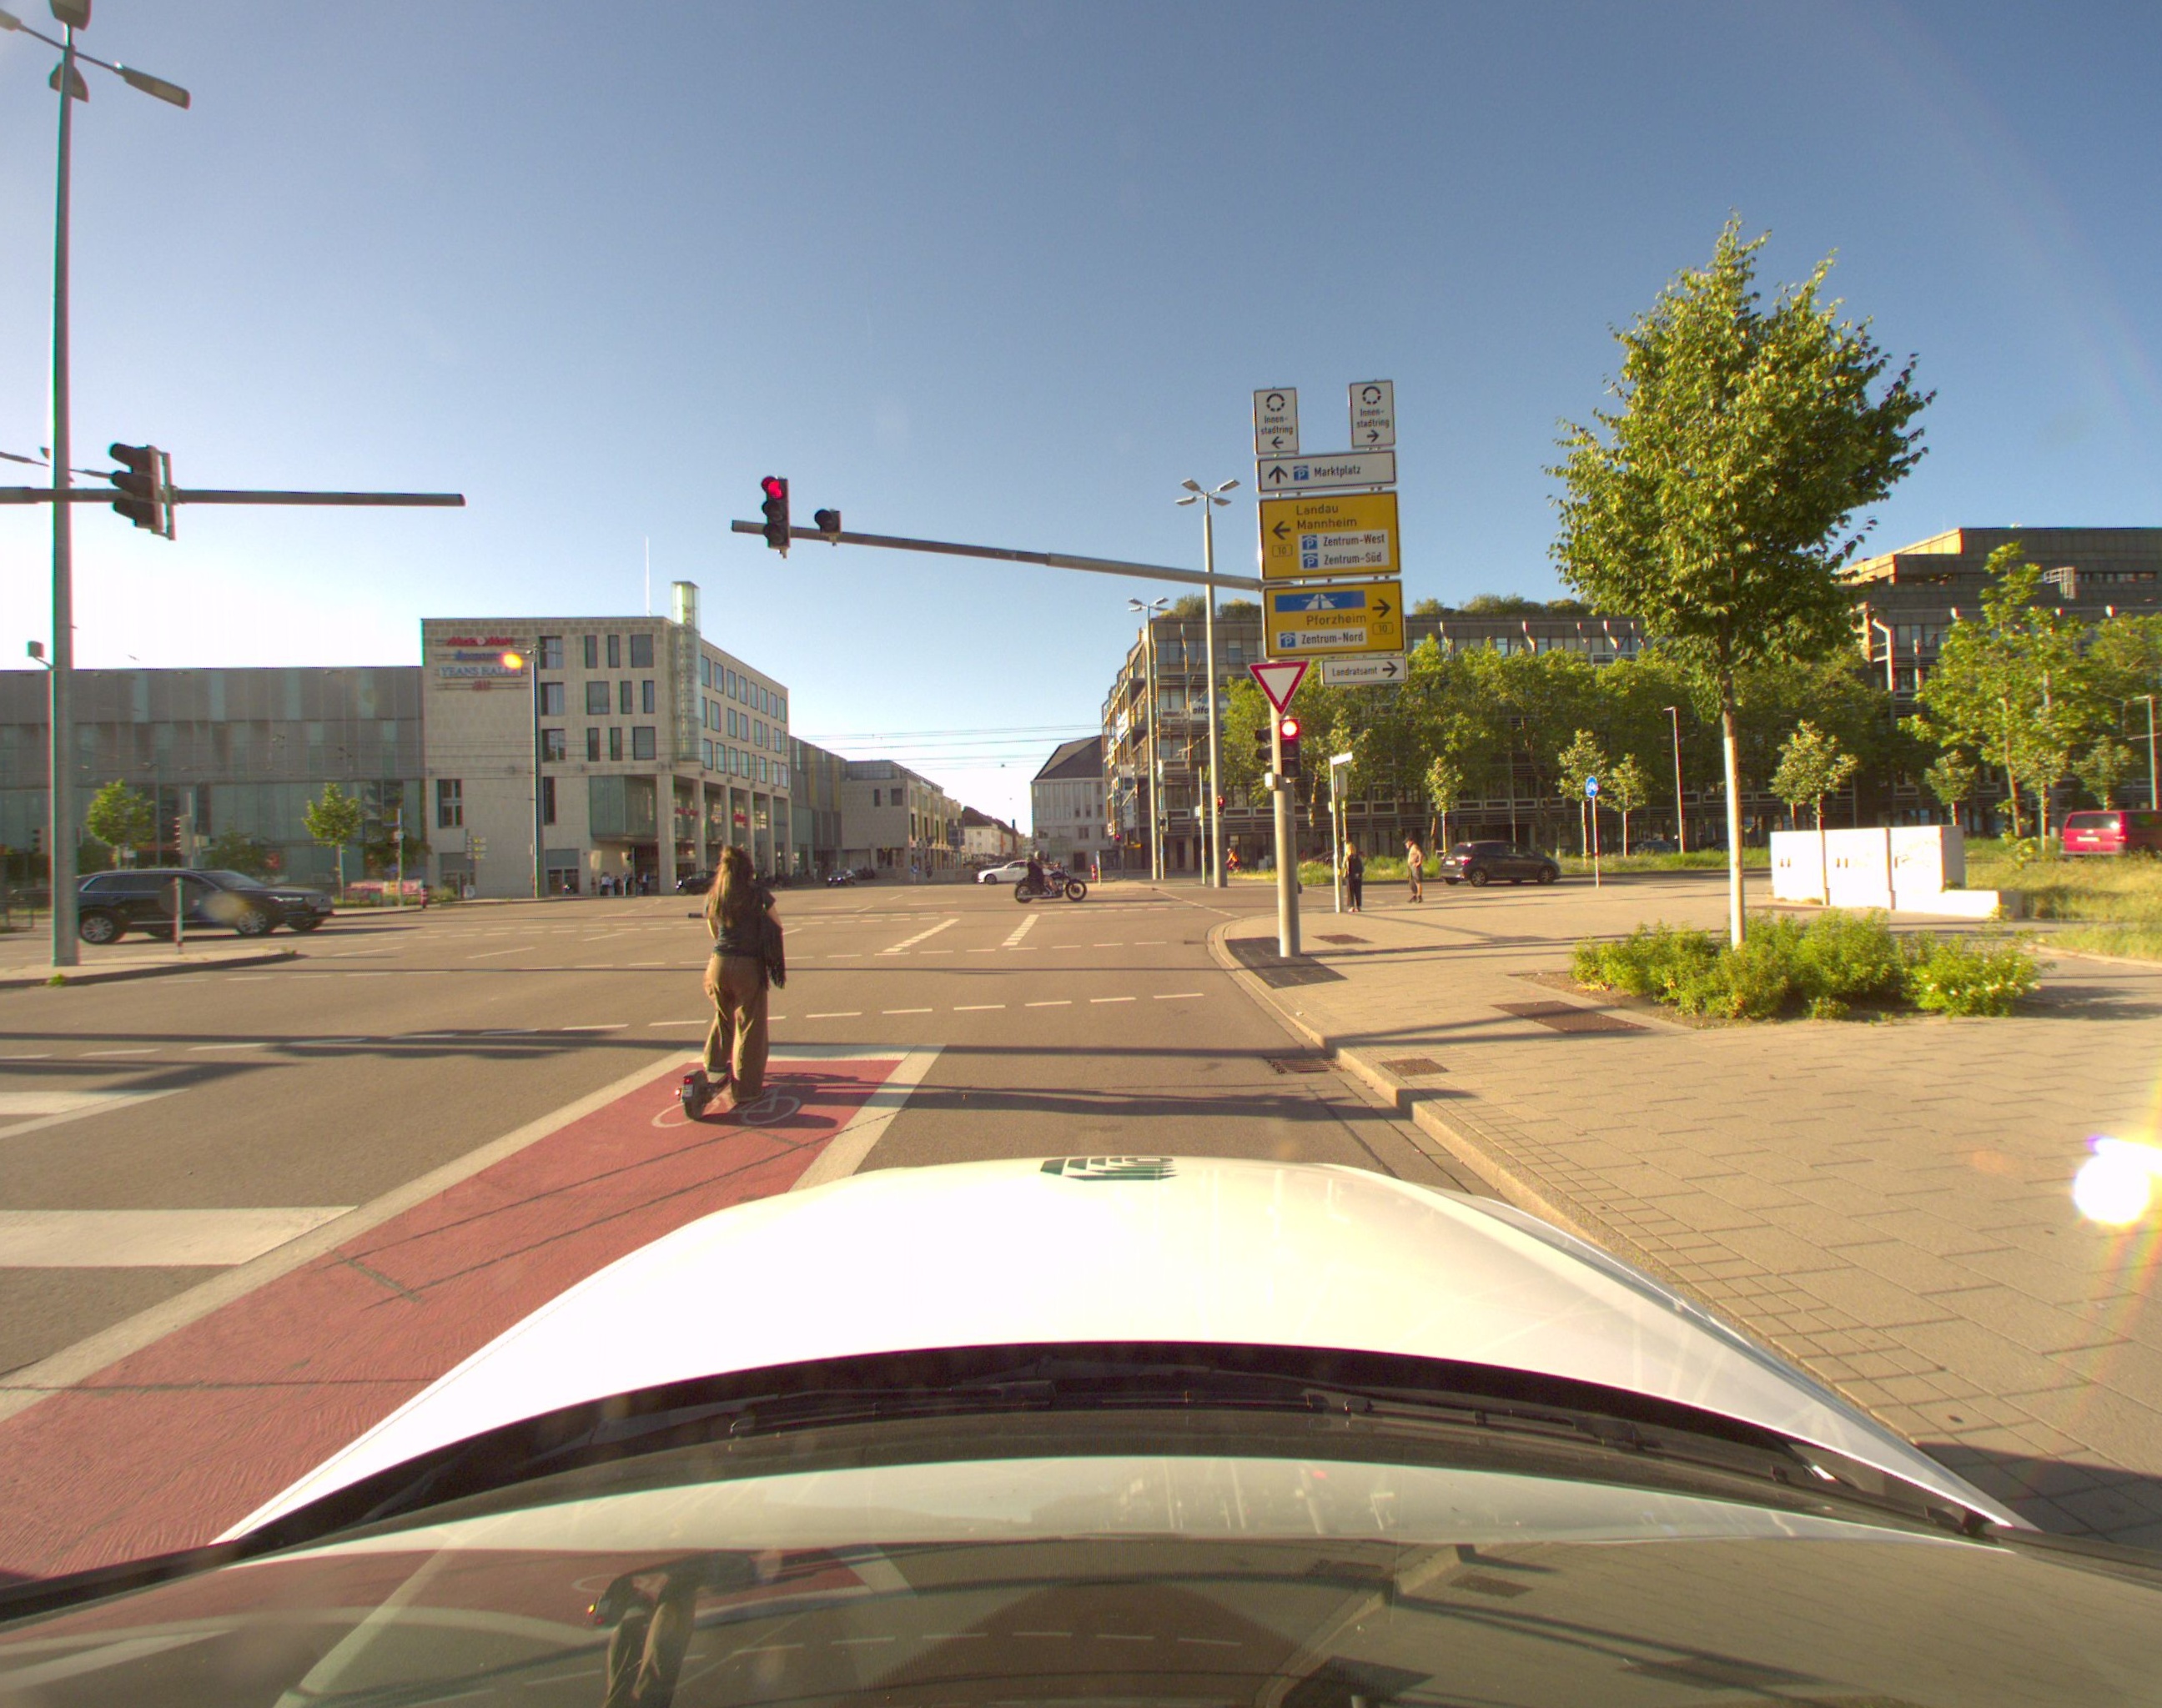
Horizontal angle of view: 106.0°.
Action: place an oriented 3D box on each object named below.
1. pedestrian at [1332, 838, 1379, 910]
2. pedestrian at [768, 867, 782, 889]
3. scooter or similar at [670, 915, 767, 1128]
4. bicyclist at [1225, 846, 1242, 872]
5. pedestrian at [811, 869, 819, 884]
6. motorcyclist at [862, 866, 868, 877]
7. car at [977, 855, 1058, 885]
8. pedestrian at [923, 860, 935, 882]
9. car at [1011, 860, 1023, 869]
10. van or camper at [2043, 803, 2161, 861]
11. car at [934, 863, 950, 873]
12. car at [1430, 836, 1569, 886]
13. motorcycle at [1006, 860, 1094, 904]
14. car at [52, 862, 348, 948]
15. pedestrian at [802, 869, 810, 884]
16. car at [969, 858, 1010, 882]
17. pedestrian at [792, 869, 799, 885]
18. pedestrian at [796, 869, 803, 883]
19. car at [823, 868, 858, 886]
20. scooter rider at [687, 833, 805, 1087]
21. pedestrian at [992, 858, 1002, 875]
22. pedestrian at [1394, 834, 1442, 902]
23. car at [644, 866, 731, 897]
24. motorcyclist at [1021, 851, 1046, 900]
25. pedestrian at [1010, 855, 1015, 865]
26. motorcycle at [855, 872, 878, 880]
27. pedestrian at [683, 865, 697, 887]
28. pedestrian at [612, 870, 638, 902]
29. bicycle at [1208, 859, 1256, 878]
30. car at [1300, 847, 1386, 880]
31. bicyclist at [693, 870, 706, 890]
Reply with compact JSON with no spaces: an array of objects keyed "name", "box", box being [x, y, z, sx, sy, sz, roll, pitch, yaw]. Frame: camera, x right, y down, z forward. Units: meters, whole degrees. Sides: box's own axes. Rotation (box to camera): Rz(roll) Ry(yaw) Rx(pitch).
[{"name":"pedestrian","box":[6.365,0.451,18.924,0.763,1.614,0.874,-2,0,0]},{"name":"pedestrian","box":[-23.921,1.857,63.740,0.772,1.638,0.627,-2,0,7]},{"name":"scooter or similar","box":[-2.176,0.963,4.951,0.306,1.107,0.835,-2,0,-9]},{"name":"bicyclist","box":[8.826,0.309,47.068,0.820,1.474,0.652,-2,0,-2]},{"name":"pedestrian","box":[-29.685,2.523,90.863,0.465,1.729,0.699,-1,-1,40]},{"name":"motorcyclist","box":[-26.290,2.132,99.178,0.627,1.406,0.661,0,-1,-7]},{"name":"car","box":[-3.942,0.962,51.104,4.827,1.684,1.826,-2,0,1]},{"name":"pedestrian","box":[-11.848,1.331,63.518,0.697,1.688,0.620,-2,0,2]},{"name":"car","box":[-11.524,1.839,146.533,1.652,1.458,3.543,-2,0,2]},{"name":"van or camper","box":[39.018,-0.824,30.036,4.815,2.013,2.005,-2,0,-2]},{"name":"car","box":[-20.886,2.088,122.164,1.652,1.458,3.543,-2,0,2]},{"name":"car","box":[14.006,0.226,27.349,3.855,1.510,1.669,-2,0,-6]},{"name":"motorcycle","box":[-0.950,0.835,24.766,2.594,1.208,0.728,-2,1,-9]},{"name":"car","box":[-22.018,1.213,20.592,4.820,1.864,1.878,-2,0,-12]},{"name":"pedestrian","box":[-31.433,2.528,93.078,0.465,1.729,0.632,-1,-1,30]},{"name":"car","box":[-6.729,1.153,59.582,1.828,1.684,3.967,-2,0,-25]},{"name":"pedestrian","box":[-31.561,2.545,90.078,0.465,1.729,0.632,-1,-1,35]},{"name":"pedestrian","box":[-32.137,2.506,92.999,0.465,1.683,0.524,-1,-1,40]},{"name":"car","box":[-20.761,1.967,70.477,1.670,1.357,4.021,-2,0,1]},{"name":"scooter rider","box":[-2.124,0.645,5.210,0.552,1.530,0.448,-2,0,-7]},{"name":"pedestrian","box":[-9.248,1.363,89.689,0.896,1.782,0.809,-2,0,1]},{"name":"pedestrian","box":[8.695,0.357,21.051,0.869,1.706,0.768,-2,0,0]},{"name":"car","box":[-24.338,1.680,50.498,4.392,1.684,1.824,-2,0,-2]},{"name":"motorcyclist","box":[-1.438,0.650,24.703,0.656,1.423,0.646,-2,1,-8]},{"name":"pedestrian","box":[-13.902,1.200,165.259,0.907,1.965,0.823,0,-1,1]},{"name":"motorcycle","box":[-26.077,2.667,99.019,2.600,0.993,1.113,0,-1,-8]},{"name":"pedestrian","box":[-33.204,1.876,69.197,0.935,1.864,0.541,-2,0,18]},{"name":"pedestrian","box":[-25.133,1.768,44.907,0.821,1.675,1.004,-2,0,-2]},{"name":"bicycle","box":[8.692,0.822,47.052,2.561,0.975,1.047,-2,0,-1]},{"name":"car","box":[14.866,0.520,46.264,4.287,1.684,1.820,-2,0,-9]},{"name":"bicyclist","box":[-27.935,1.889,59.671,0.620,1.448,0.592,-2,0,40]}]
